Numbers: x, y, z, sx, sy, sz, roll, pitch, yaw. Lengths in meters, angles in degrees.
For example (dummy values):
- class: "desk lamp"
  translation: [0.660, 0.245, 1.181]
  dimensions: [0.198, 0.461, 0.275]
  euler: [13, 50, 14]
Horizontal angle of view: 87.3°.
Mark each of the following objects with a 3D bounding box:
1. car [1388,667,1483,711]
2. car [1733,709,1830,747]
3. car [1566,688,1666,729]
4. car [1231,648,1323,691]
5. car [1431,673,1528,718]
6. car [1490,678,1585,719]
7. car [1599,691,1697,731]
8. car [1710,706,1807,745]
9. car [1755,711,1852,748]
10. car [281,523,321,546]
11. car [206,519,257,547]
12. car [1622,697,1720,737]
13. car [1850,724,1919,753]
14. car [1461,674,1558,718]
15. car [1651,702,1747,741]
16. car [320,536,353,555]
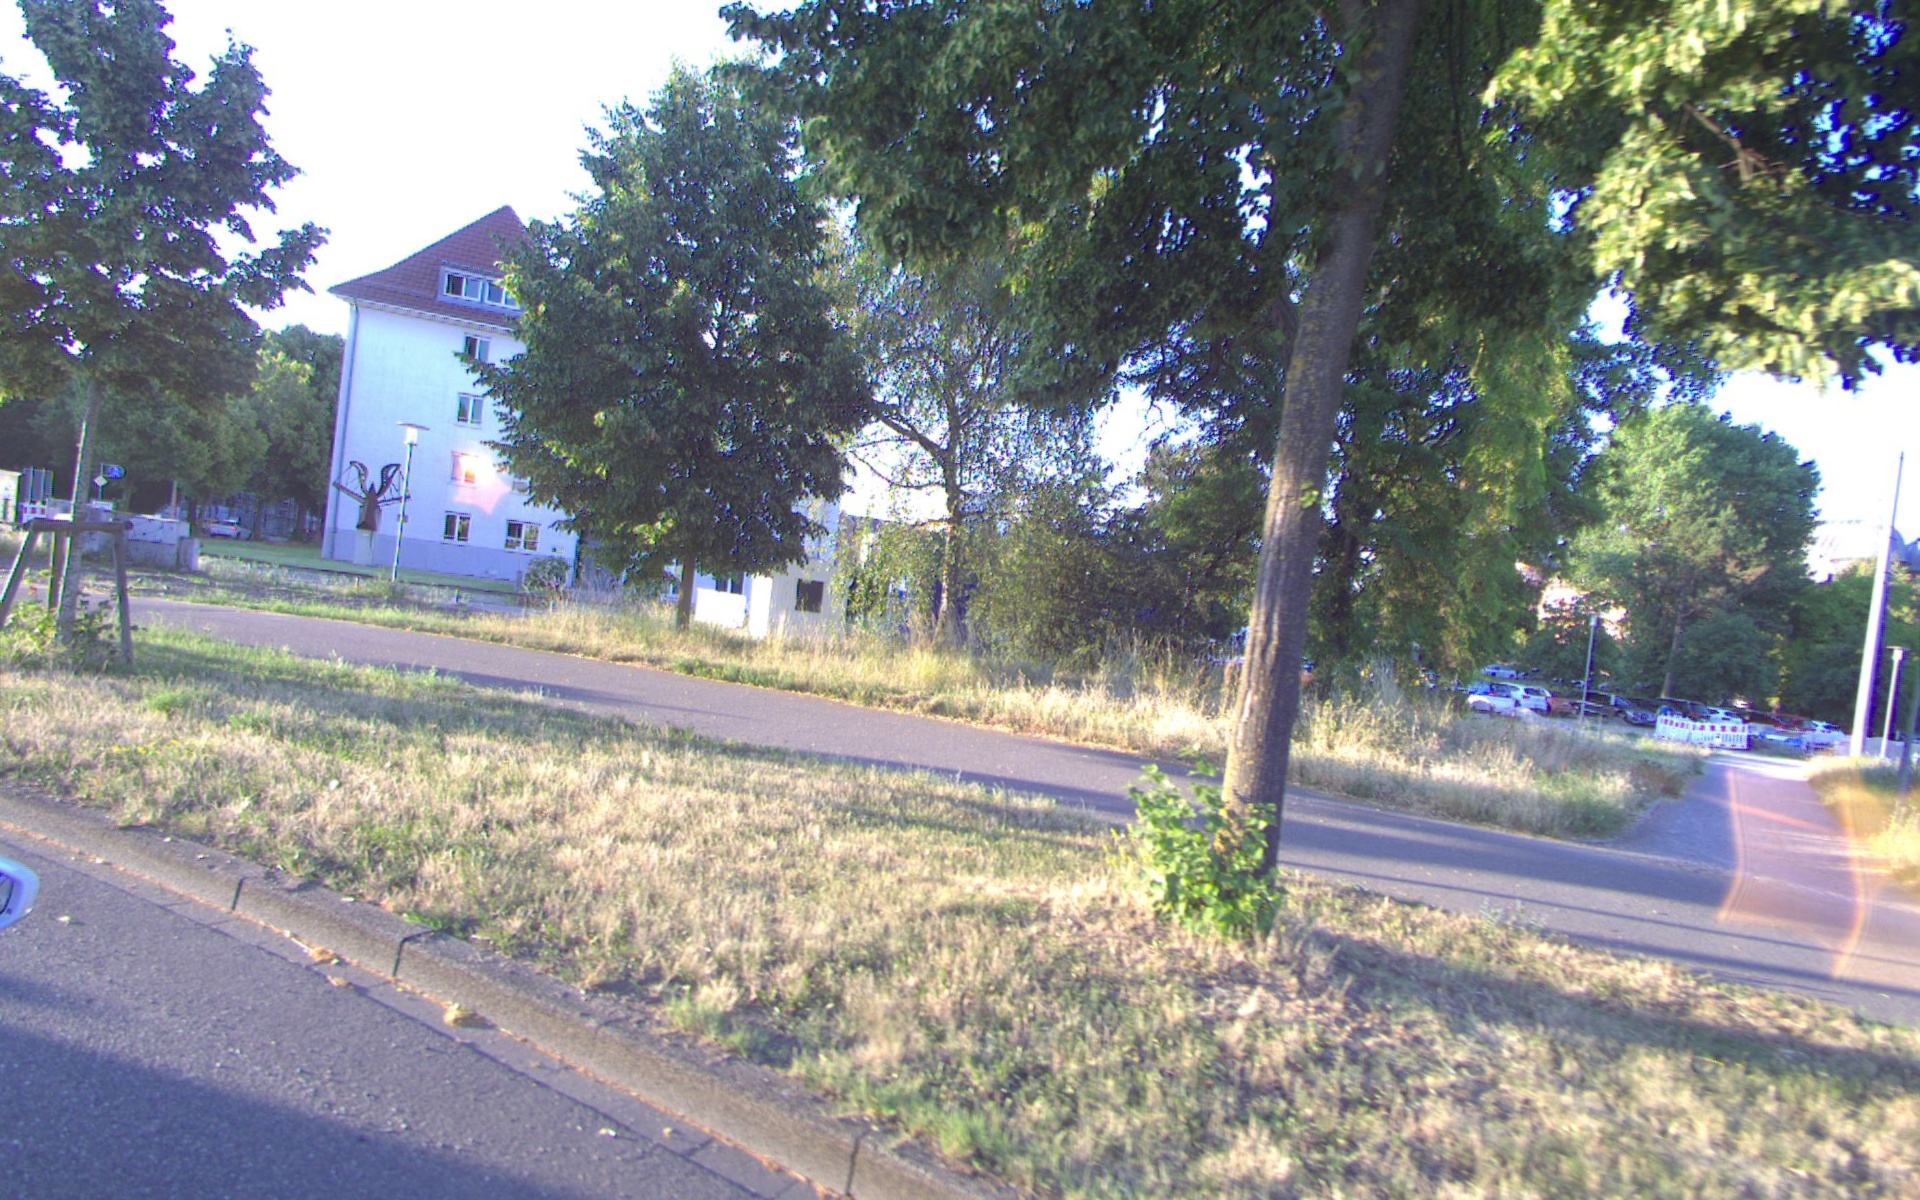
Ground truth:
- class: "car"
  translation: [24.282, 4.529, 51.563]
  dimensions: [1.928, 1.682, 3.977]
  euler: [7, -1, -24]
- class: "car"
  translation: [49.278, 7.667, 60.426]
  dimensions: [1.879, 1.572, 3.977]
  euler: [7, -1, -24]
- class: "car"
  translation: [35.767, 5.886, 54.943]
  dimensions: [1.879, 1.572, 4.076]
  euler: [7, -1, -24]
- class: "car"
  translation: [14.977, 3.276, 47.758]
  dimensions: [1.928, 1.463, 3.977]
  euler: [7, -1, -24]
- class: "car"
  translation: [26.794, 4.927, 52.034]
  dimensions: [1.928, 1.682, 3.977]
  euler: [7, -1, -24]
- class: "car"
  translation: [31.007, 5.282, 54.162]
  dimensions: [1.879, 1.572, 3.977]
  euler: [7, -1, -24]
- class: "car"
  translation: [38.332, 6.187, 56.150]
  dimensions: [1.879, 1.572, 3.977]
  euler: [7, -1, -24]
- class: "car"
  translation: [47.033, 7.374, 59.353]
  dimensions: [1.879, 1.572, 3.977]
  euler: [7, -1, -24]
- class: "car"
  translation: [51.470, 7.884, 61.464]
  dimensions: [1.879, 1.572, 3.977]
  euler: [7, -1, -24]
- class: "car"
  translation: [-60.758, -6.019, 92.827]
  dimensions: [1.930, 1.621, 4.061]
  euler: [8, -1, -19]
- class: "car"
  translation: [-54.725, -5.000, 75.643]
  dimensions: [1.931, 1.621, 4.058]
  euler: [8, -1, -21]
- class: "car"
  translation: [40.173, 6.602, 56.939]
  dimensions: [1.879, 1.572, 3.977]
  euler: [7, -1, -24]
- class: "car"
  translation: [61.546, 9.165, 66.425]
  dimensions: [1.778, 1.370, 3.655]
  euler: [7, -1, -27]
- class: "car"
  translation: [28.817, 5.037, 52.897]
  dimensions: [1.928, 1.682, 3.977]
  euler: [7, -1, -24]
- class: "car"
  translation: [42.642, 6.994, 58.127]
  dimensions: [1.879, 1.572, 3.977]
  euler: [7, -1, -24]
- class: "car"
  translation: [-65.822, -5.773, 106.332]
  dimensions: [1.930, 1.621, 4.061]
  euler: [8, -1, -19]
